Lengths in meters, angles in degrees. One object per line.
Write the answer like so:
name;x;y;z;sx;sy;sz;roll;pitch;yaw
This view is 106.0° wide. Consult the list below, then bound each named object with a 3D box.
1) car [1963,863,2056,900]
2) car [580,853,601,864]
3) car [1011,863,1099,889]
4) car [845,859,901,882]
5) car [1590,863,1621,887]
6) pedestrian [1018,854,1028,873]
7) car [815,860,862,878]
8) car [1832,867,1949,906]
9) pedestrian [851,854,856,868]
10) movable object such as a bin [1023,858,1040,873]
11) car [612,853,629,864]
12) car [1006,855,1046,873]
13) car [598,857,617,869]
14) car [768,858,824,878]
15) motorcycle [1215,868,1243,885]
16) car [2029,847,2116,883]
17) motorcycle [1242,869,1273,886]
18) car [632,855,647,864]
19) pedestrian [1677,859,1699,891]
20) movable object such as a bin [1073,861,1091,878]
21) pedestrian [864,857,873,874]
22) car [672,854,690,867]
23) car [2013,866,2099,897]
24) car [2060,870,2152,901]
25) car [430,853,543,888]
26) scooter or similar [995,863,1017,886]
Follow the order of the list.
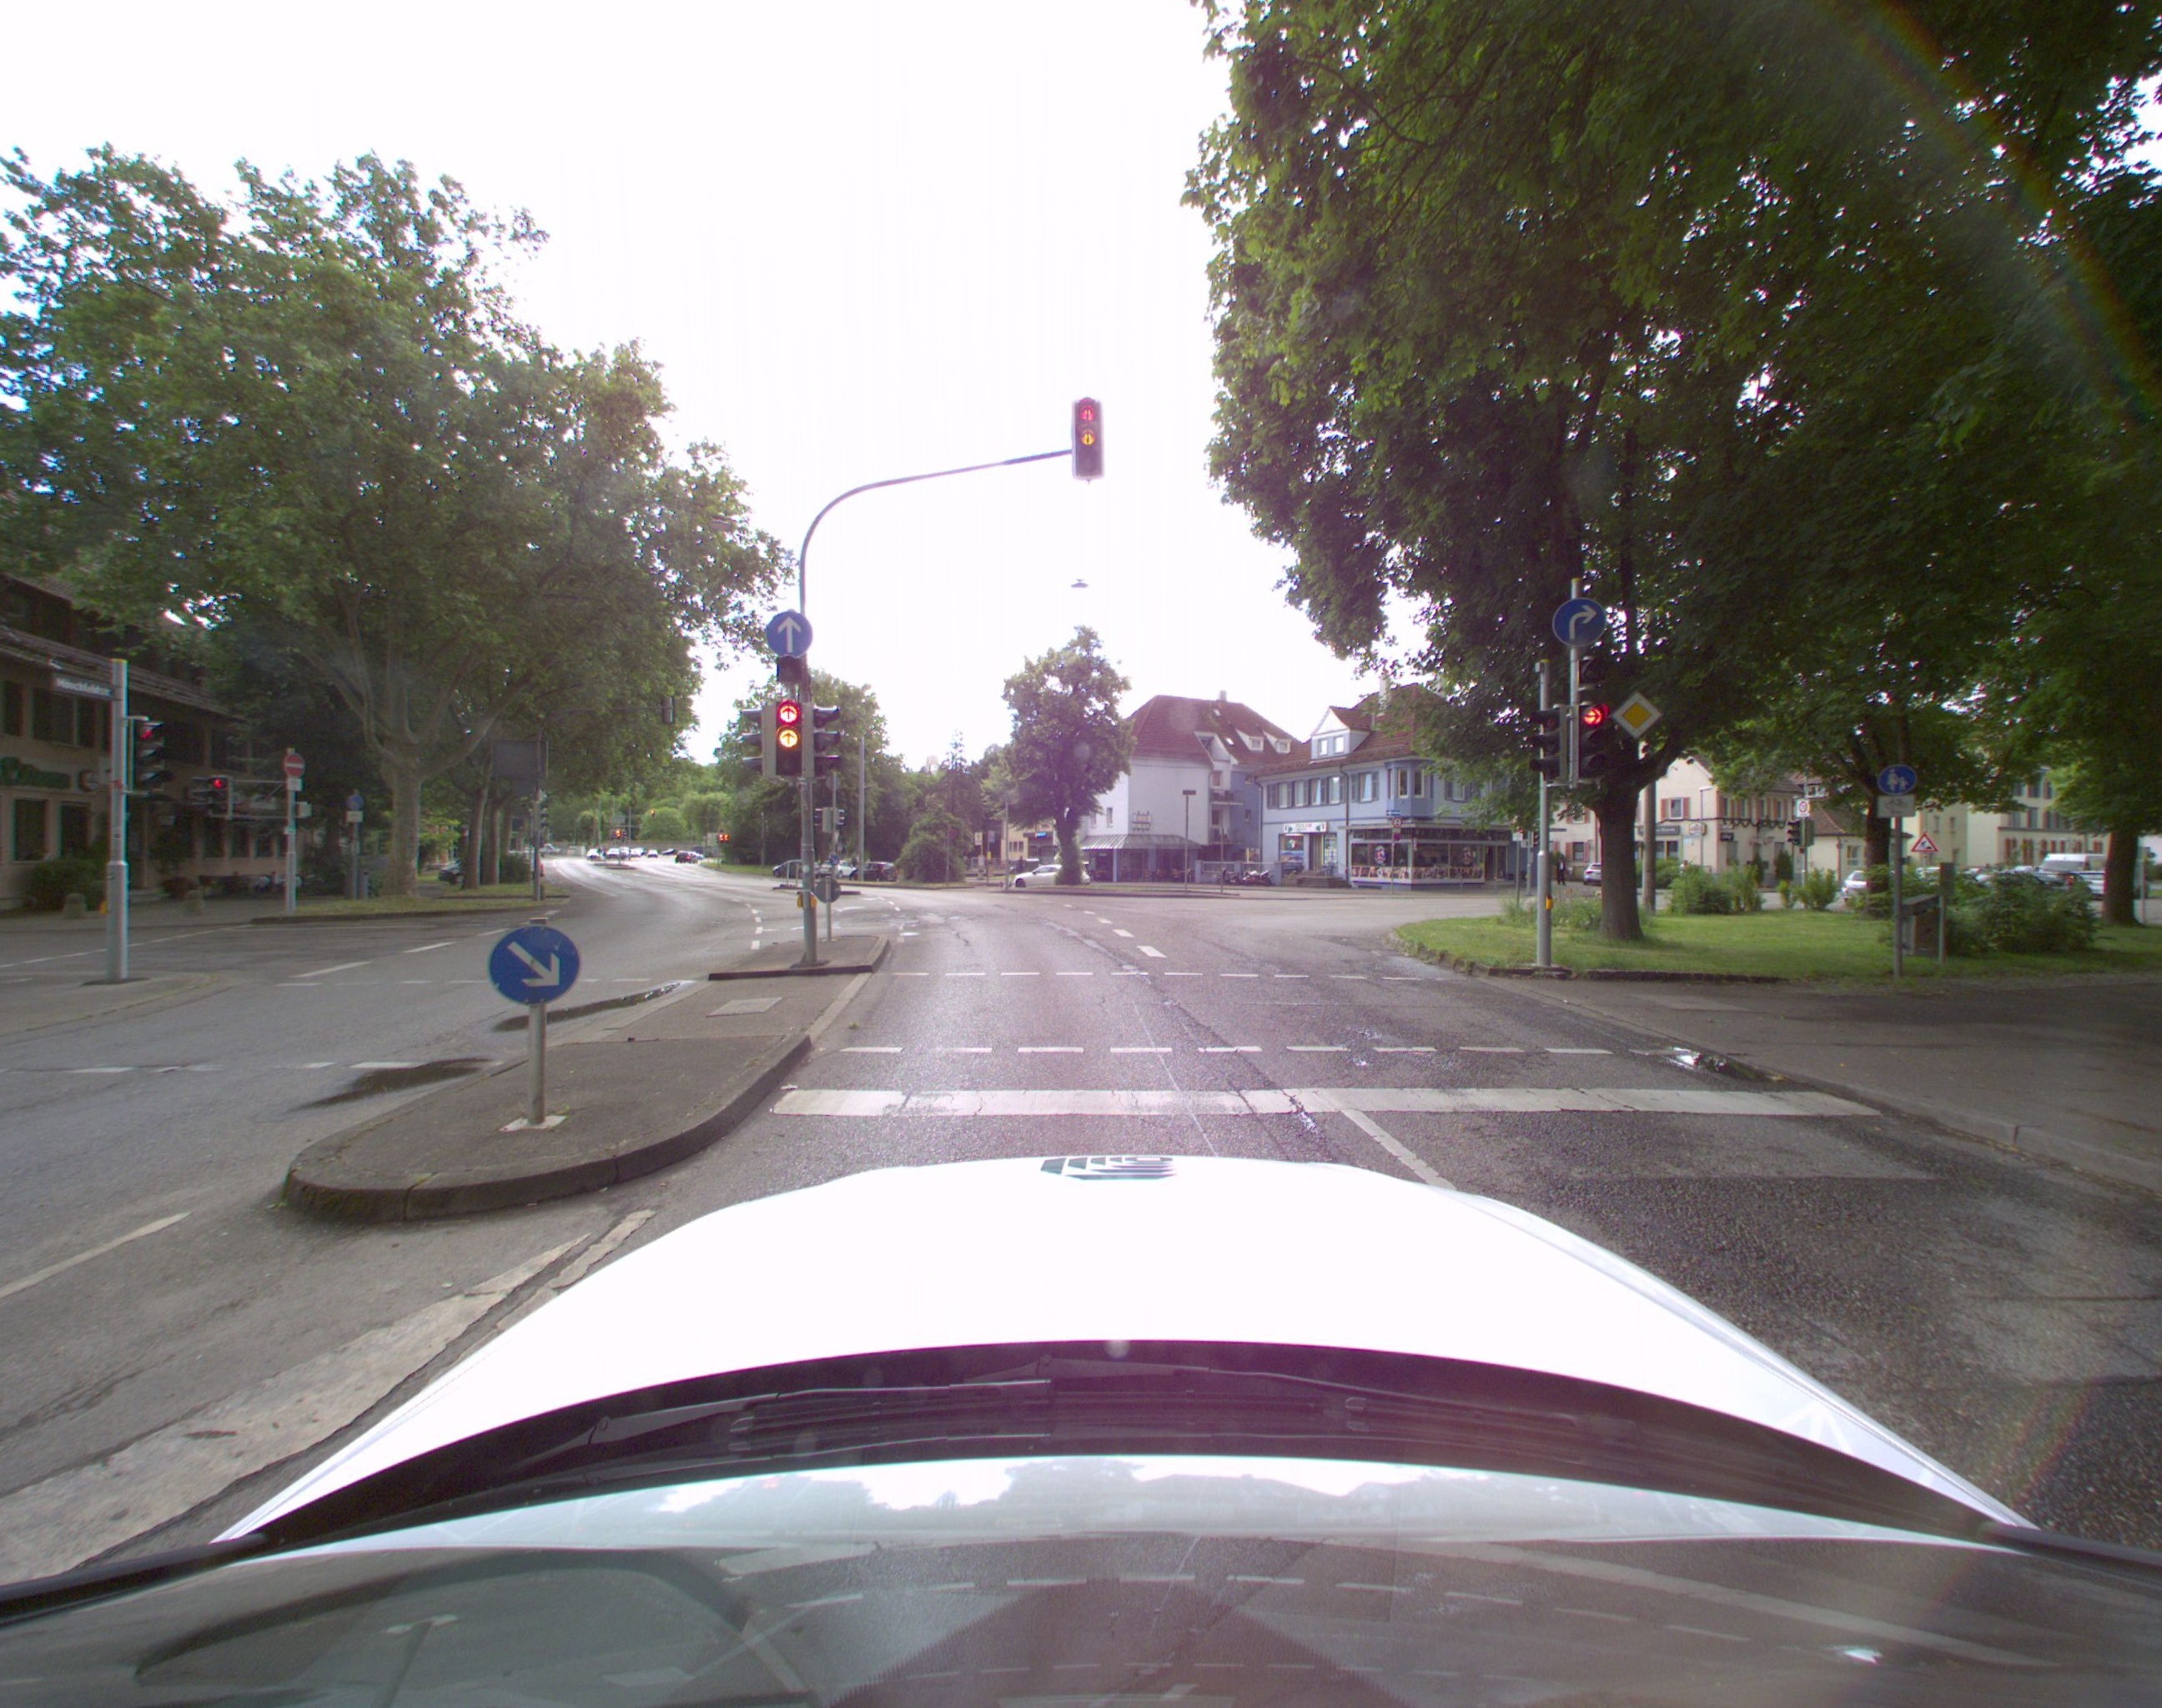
car;42.251;1.207;37.051;4.008;1.572;1.857;0;-1;-27
car;-66.223;0.613;109.954;1.769;1.466;3.991;2;-1;-22
car;-1.507;1.190;45.962;4.726;1.386;2.013;-1;-1;36
car;-13.868;1.067;54.275;3.450;1.404;1.583;1;0;30
car;32.529;1.269;50.584;1.551;1.462;3.461;0;0;32
pedestrian;-5.350;0.866;74.927;0.691;1.729;0.605;0;-1;-30
car;-20.062;1.212;67.529;1.746;1.380;4.278;1;0;14
car;32.916;1.285;33.102;4.552;1.456;1.885;0;-1;-24
pedestrian;-25.604;0.791;91.730;0.512;1.531;0.773;1;-1;-20
movable object such as a bin;-4.522;1.039;74.219;1.223;1.345;0.986;0;-1;-30
car;-75.782;0.673;134.018;1.919;1.763;4.716;0;1;-23
car;-5.141;0.950;76.051;3.428;1.630;1.612;0;0;-23
car;-72.407;1.318;124.644;1.803;1.586;4.384;-2;2;-21
car;-22.721;1.104;64.931;4.063;1.429;1.743;2;0;24
motorcycle;9.088;1.373;50.003;1.703;1.031;0.492;-1;-1;45
car;68.090;0.729;55.921;5.966;2.392;2.318;0;-1;-24
motorcycle;10.436;1.386;48.233;1.800;0.985;0.525;-1;-1;45
car;-79.257;0.956;146.285;2.002;1.655;4.394;0;1;-22
pedestrian;32.877;1.126;44.138;0.648;1.697;0.750;1;-1;-27
movable object such as a bin;0.108;1.350;70.694;1.218;1.395;1.153;0;-1;-20
pedestrian;-19.895;1.066;76.294;0.687;1.551;0.736;1;0;-30
car;-49.650;0.793;101.134;1.833;1.509;4.532;0;0;-28
car;47.039;1.297;39.288;3.746;1.390;1.725;0;-1;-24
car;52.719;1.591;41.887;4.407;1.456;1.910;0;-1;-24
car;-36.726;0.952;50.423;2.058;1.931;5.276;0;2;42
scooter or similar;-3.949;1.101;42.963;0.407;1.167;1.370;0;-3;28
